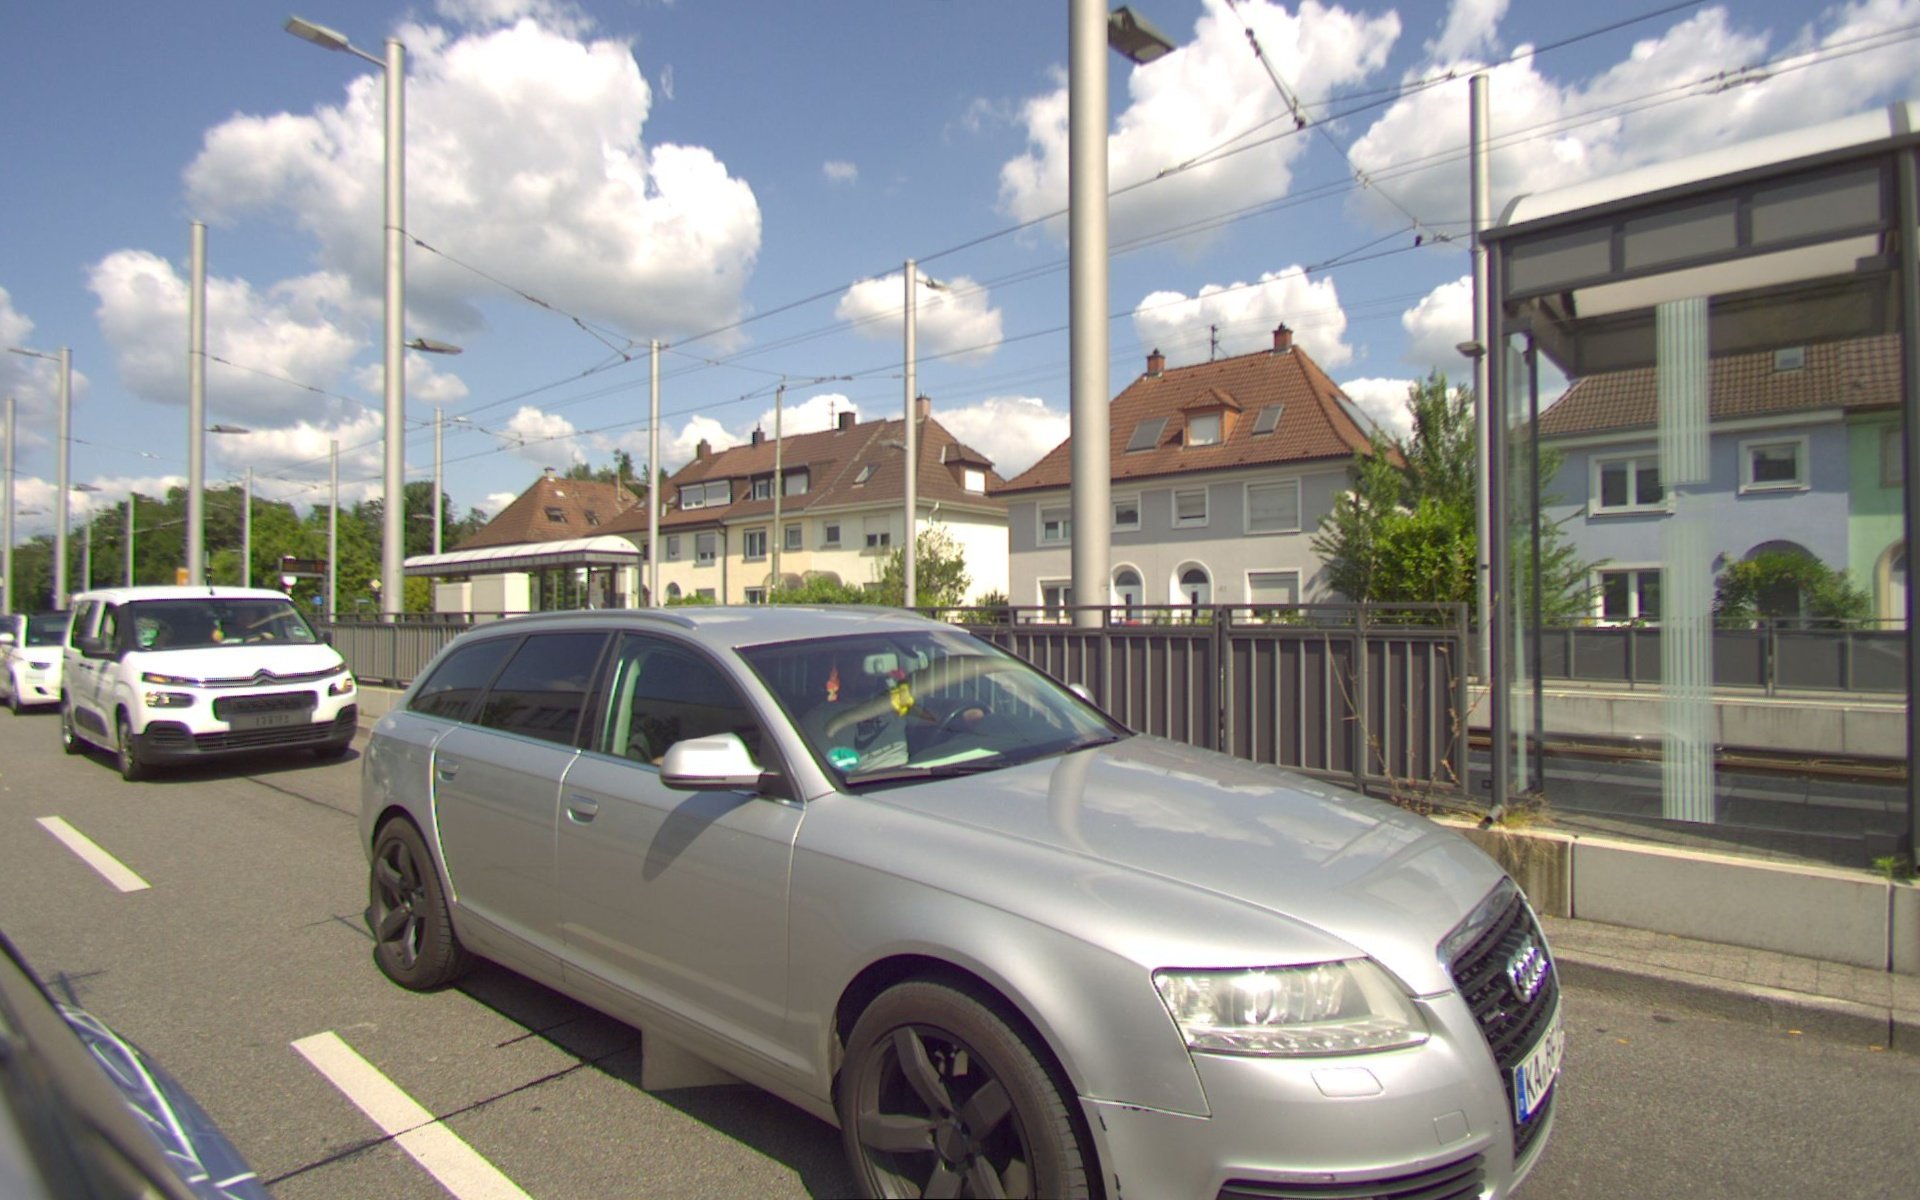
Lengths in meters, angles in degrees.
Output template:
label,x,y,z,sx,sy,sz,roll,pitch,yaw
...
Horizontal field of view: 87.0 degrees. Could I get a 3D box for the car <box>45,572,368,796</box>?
label,x,y,z,sx,sy,sz,roll,pitch,yaw
car,-7.845,0.695,10.379,4.327,1.829,1.776,-1,0,41

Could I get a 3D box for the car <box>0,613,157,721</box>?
label,x,y,z,sx,sy,sz,roll,pitch,yaw
car,-14.339,0.991,16.179,3.390,1.515,1.659,-1,0,39

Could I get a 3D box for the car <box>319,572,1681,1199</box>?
label,x,y,z,sx,sy,sz,roll,pitch,yaw
car,-0.436,0.713,3.564,4.719,1.483,1.776,-1,0,41

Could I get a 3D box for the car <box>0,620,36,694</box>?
label,x,y,z,sx,sy,sz,roll,pitch,yaw
car,-20.780,1.175,21.160,3.555,1.433,1.659,-1,0,39
